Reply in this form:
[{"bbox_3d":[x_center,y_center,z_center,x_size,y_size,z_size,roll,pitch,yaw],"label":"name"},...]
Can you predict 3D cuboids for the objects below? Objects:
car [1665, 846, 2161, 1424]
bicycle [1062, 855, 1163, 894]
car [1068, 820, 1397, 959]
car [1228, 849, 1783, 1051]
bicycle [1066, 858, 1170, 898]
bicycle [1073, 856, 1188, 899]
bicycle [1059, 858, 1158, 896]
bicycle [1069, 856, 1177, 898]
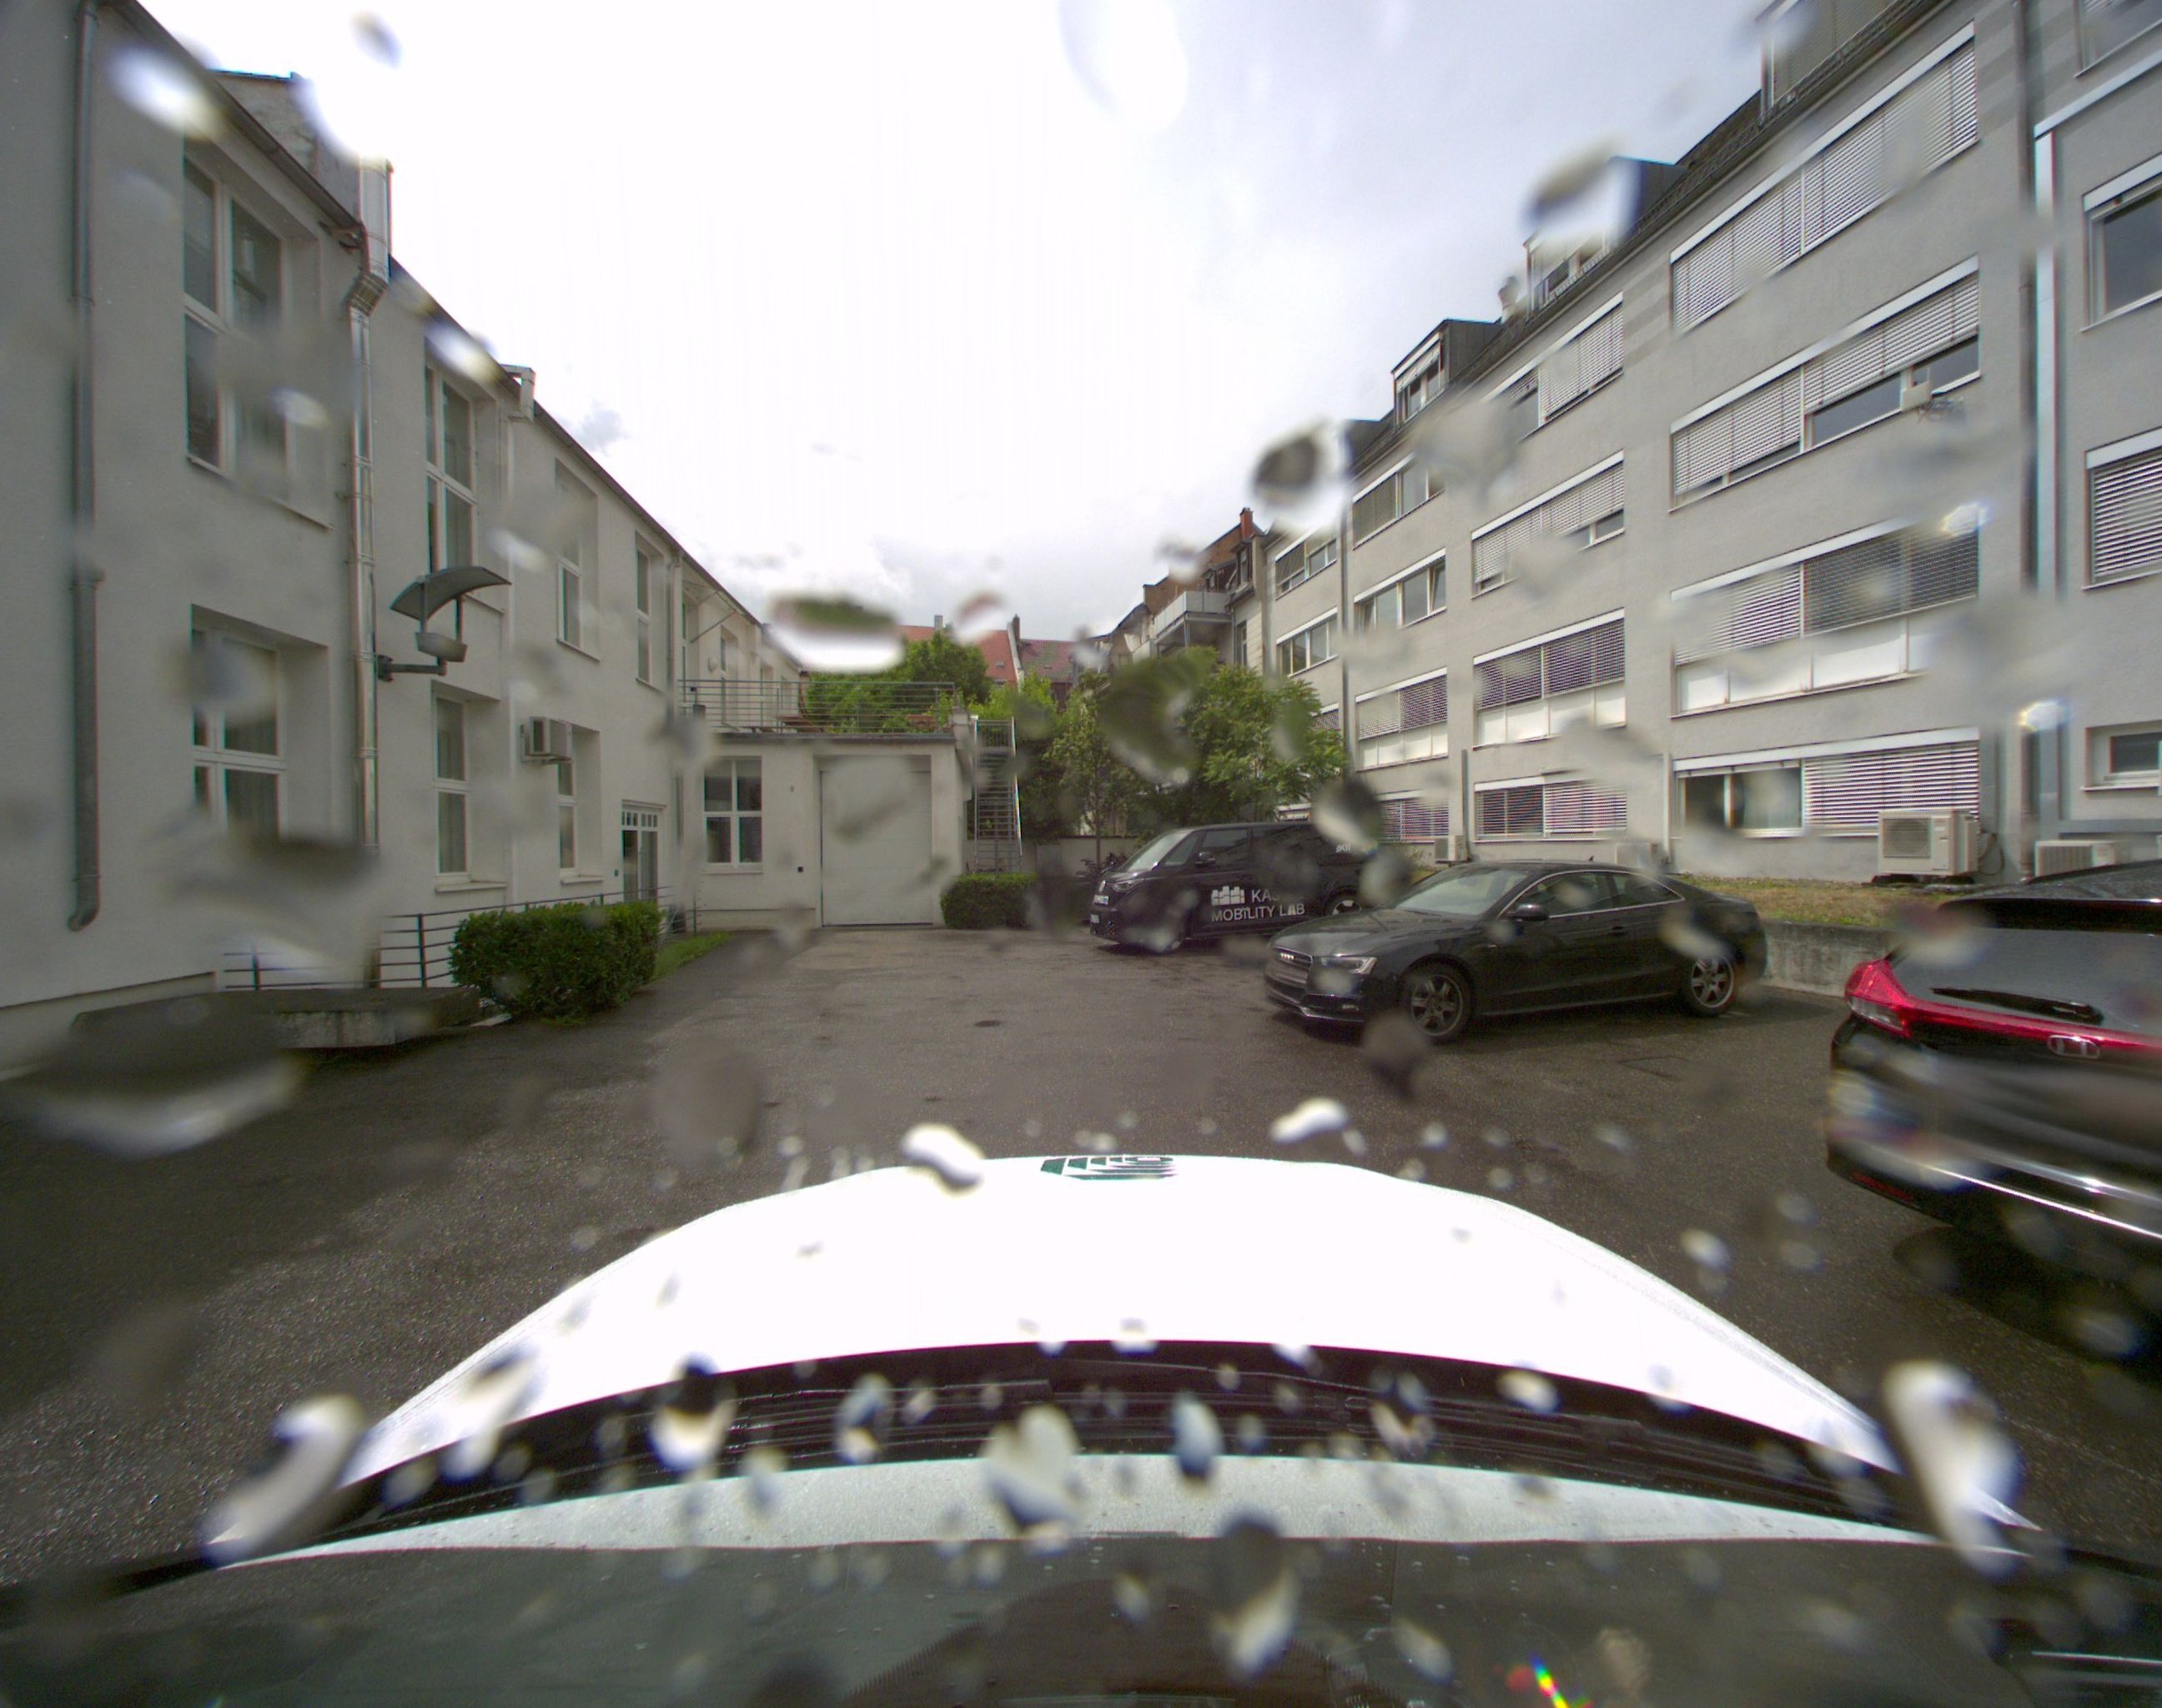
[{"bbox_3d":[4.668,0.689,2.938,4.176,1.401,1.930,-2,0,-14],"label":"car"},{"bbox_3d":[0.911,0.588,23.590,2.844,1.078,0.687,1,1,-11],"label":"bicycle"},{"bbox_3d":[2.340,0.474,13.049,4.716,1.833,2.101,-2,1,-14],"label":"car"},{"bbox_3d":[3.736,0.693,7.389,4.360,1.348,1.851,-1,1,-14],"label":"car"},{"bbox_3d":[1.028,0.683,22.889,2.844,1.078,0.687,1,1,-11],"label":"bicycle"},{"bbox_3d":[1.291,0.614,21.412,2.924,1.078,0.687,1,1,-11],"label":"bicycle"},{"bbox_3d":[0.809,0.684,24.185,2.844,1.078,0.687,1,1,-11],"label":"bicycle"},{"bbox_3d":[1.140,0.622,22.175,2.844,1.078,0.687,1,1,-11],"label":"bicycle"}]
